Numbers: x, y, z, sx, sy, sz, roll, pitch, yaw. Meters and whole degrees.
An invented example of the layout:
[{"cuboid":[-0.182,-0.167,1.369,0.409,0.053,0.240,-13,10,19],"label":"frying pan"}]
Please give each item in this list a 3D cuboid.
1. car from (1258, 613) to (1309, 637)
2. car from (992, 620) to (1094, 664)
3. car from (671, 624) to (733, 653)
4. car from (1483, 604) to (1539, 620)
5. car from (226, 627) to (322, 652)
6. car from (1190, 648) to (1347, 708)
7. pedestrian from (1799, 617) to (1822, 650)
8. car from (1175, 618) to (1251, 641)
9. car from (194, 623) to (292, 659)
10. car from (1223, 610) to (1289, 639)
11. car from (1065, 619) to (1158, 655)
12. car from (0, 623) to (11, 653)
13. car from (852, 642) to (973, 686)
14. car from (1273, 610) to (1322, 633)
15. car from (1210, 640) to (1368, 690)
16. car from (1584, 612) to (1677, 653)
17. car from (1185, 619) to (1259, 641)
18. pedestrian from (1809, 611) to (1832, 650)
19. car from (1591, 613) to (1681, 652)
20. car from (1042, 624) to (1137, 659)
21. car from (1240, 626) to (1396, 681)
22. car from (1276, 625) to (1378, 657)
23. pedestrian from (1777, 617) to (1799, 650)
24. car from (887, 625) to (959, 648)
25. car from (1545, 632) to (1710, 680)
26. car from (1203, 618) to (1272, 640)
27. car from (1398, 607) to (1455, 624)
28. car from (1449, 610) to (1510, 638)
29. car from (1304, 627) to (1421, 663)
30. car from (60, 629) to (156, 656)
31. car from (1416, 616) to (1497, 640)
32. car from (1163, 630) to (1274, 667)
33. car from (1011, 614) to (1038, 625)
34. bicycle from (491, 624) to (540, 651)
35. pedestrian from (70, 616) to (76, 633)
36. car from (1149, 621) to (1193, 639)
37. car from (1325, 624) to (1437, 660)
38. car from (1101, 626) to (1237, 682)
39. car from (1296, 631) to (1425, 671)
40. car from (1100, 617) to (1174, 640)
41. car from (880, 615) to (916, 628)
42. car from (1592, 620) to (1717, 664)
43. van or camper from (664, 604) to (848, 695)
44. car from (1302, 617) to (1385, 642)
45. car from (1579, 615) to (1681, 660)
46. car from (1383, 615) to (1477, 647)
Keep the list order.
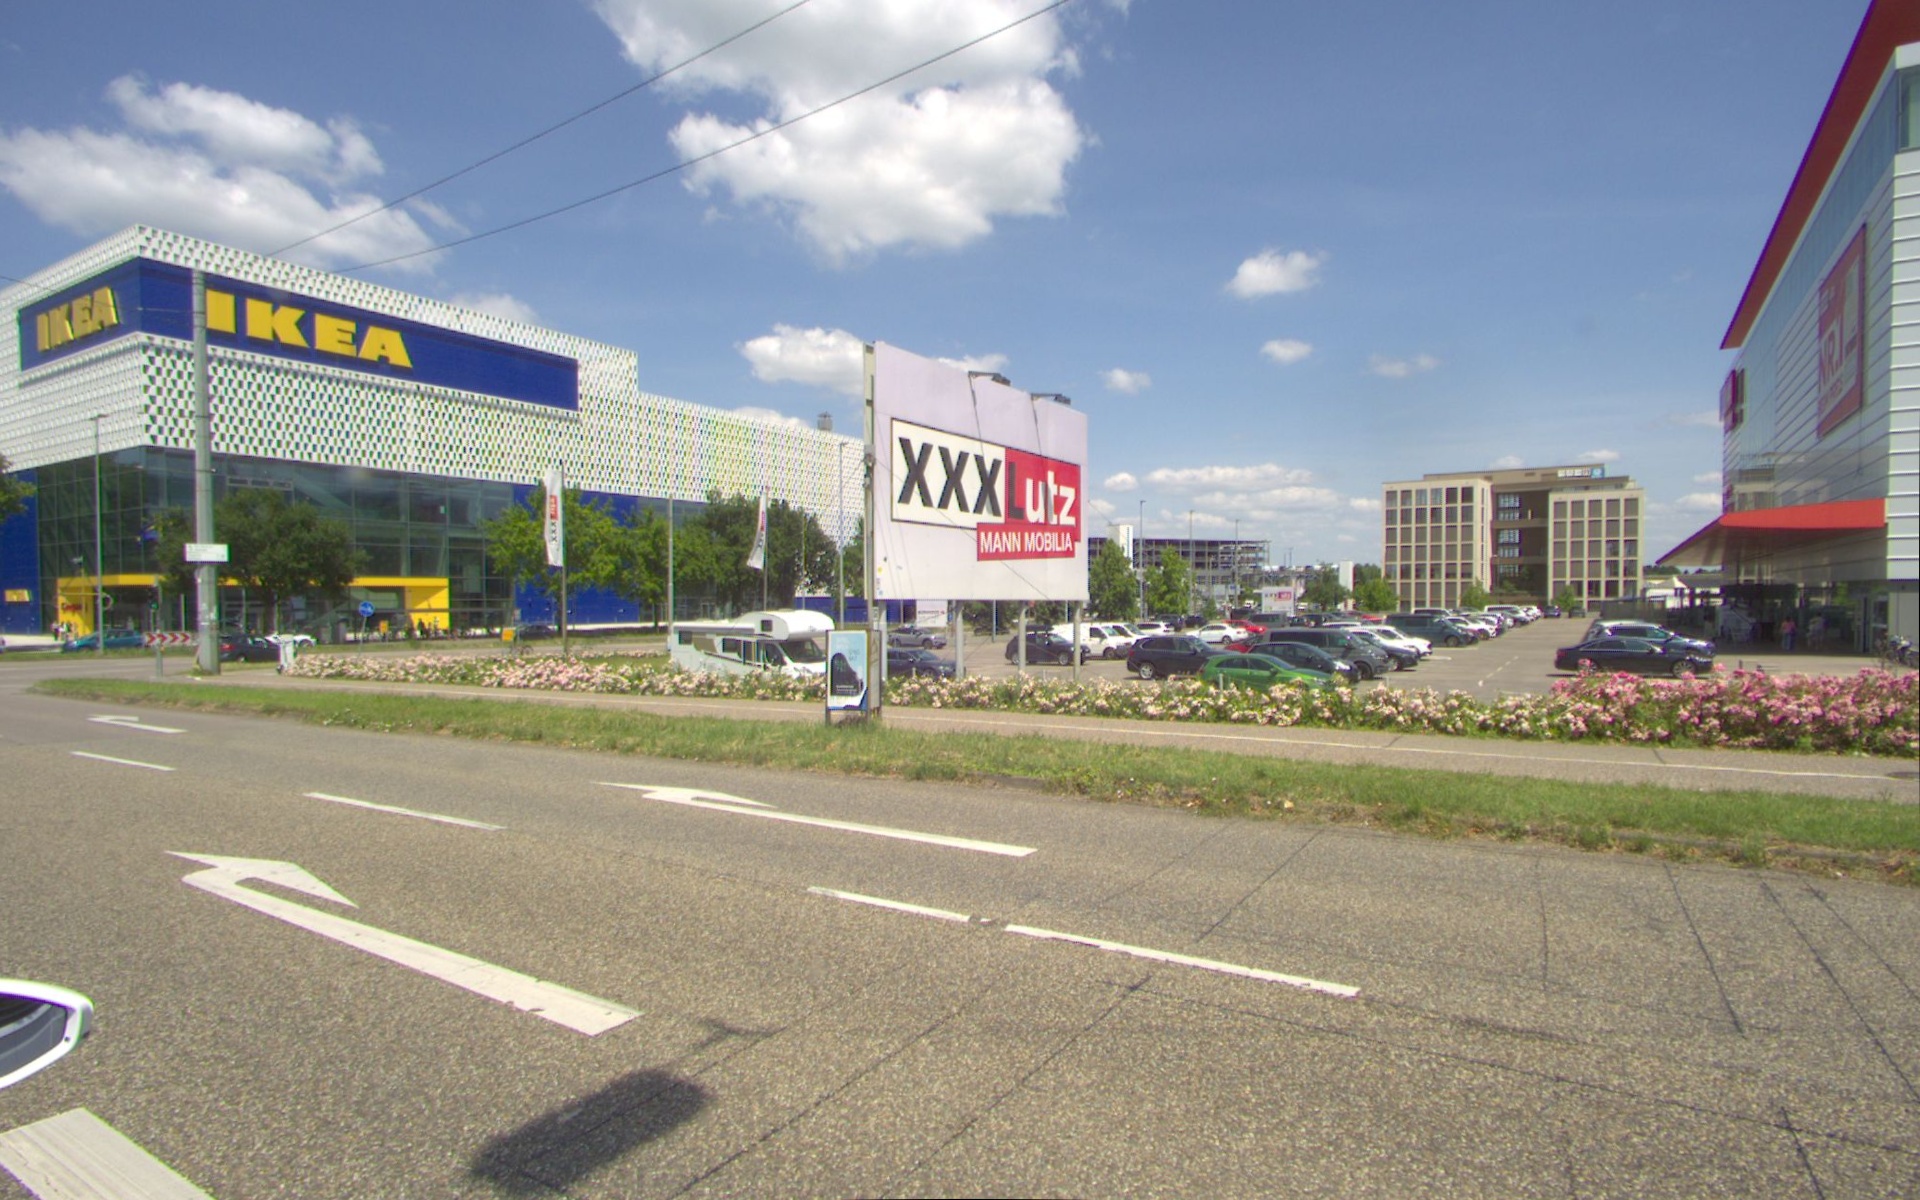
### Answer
[{"cuboid":[28.628,2.191,88.572,3.943,2.040,1.990,-1,-1,32],"label":"car"},{"cuboid":[4.285,2.135,51.921,4.930,2.162,1.990,-1,-1,33],"label":"car"},{"cuboid":[-18.840,2.810,73.277,1.972,2.040,4.172,-1,-1,33],"label":"car"},{"cuboid":[56.456,1.247,102.613,4.930,1.631,1.990,-1,-1,33],"label":"car"},{"cuboid":[-41.886,2.420,61.233,1.974,1.505,4.485,0,-2,36],"label":"car"},{"cuboid":[9.501,2.354,30.896,4.242,1.517,1.988,-1,2,33],"label":"car"},{"cuboid":[40.995,1.621,48.266,0.725,1.578,0.739,0,-1,30],"label":"pedestrian"},{"cuboid":[18.229,2.119,72.274,4.930,1.631,1.990,-1,-1,33],"label":"car"},{"cuboid":[-32.747,1.831,45.883,1.732,1.546,4.099,0,-1,-3],"label":"car"},{"cuboid":[24.468,2.022,82.823,4.930,2.333,1.990,-1,-1,33],"label":"car"},{"cuboid":[8.750,2.104,57.963,4.930,2.033,1.990,-1,-1,33],"label":"car"},{"cuboid":[-49.753,1.818,49.022,1.974,1.505,4.485,0,-2,36],"label":"car"},{"cuboid":[-1.980,2.584,41.228,4.702,1.558,1.989,-1,0,33],"label":"car"},{"cuboid":[31.085,2.017,92.205,3.943,2.040,1.990,-1,-1,32],"label":"car"},{"cuboid":[11.487,2.234,35.061,4.930,1.570,1.990,-1,-1,33],"label":"car"},{"cuboid":[34.817,1.685,52.131,3.943,2.039,1.990,-1,-1,32],"label":"car"},{"cuboid":[19.414,2.208,74.315,4.930,1.631,1.990,-1,-1,33],"label":"car"},{"cuboid":[41.940,1.482,48.804,0.725,1.893,0.739,0,-1,30],"label":"pedestrian"},{"cuboid":[36.473,1.762,54.173,3.943,2.040,1.990,-1,-1,32],"label":"car"},{"cuboid":[7.216,2.278,55.884,4.930,1.876,1.990,-1,-1,33],"label":"car"},{"cuboid":[13.952,2.022,39.180,5.456,2.039,1.990,-1,-1,33],"label":"car"},{"cuboid":[19.800,2.170,54.065,4.928,1.631,1.990,-1,-1,32],"label":"car"},{"cuboid":[40.850,1.649,49.407,0.725,1.578,0.739,0,-1,30],"label":"pedestrian"},{"cuboid":[-2.745,2.674,73.440,5.083,1.631,1.990,-1,-1,33],"label":"car"},{"cuboid":[24.313,1.997,36.699,4.930,1.631,1.990,-1,-1,33],"label":"car"},{"cuboid":[21.807,2.270,78.742,4.930,1.631,1.990,-1,-1,33],"label":"car"},{"cuboid":[45.572,1.492,97.849,4.930,1.631,1.990,-1,-1,33],"label":"car"},{"cuboid":[39.449,1.819,76.054,3.943,2.040,1.990,-1,-1,32],"label":"car"},{"cuboid":[19.128,2.089,47.680,4.930,1.631,1.990,-1,-1,33],"label":"car"},{"cuboid":[-48.367,2.408,56.873,1.974,1.505,3.779,0,-2,36],"label":"car"},{"cuboid":[34.736,1.942,70.047,4.930,1.631,1.990,-1,-1,33],"label":"car"},{"cuboid":[12.704,2.351,49.326,4.930,1.632,1.989,-1,0,33],"label":"car"},{"cuboid":[9.750,2.986,150.360,1.974,1.505,4.485,0,-2,36],"label":"car"},{"cuboid":[-25.521,2.153,57.531,0.976,1.500,2.415,-1,-1,37],"label":"bicycle"},{"cuboid":[-72.099,1.969,81.382,0.263,1.360,0.288,-1,0,32],"label":"pedestrian"},{"cuboid":[21.519,3.048,102.145,3.943,1.863,1.819,-1,-1,32],"label":"car"},{"cuboid":[20.920,2.054,49.844,4.930,1.672,1.990,-1,-1,33],"label":"car"},{"cuboid":[8.343,2.106,40.134,4.930,2.040,1.989,-1,1,33],"label":"car"},{"cuboid":[17.235,2.160,43.171,4.930,1.631,1.990,-1,-1,33],"label":"car"},{"cuboid":[12.809,2.054,72.533,4.922,1.631,1.993,-1,-1,27],"label":"car"},{"cuboid":[-7.559,2.581,122.011,1.974,1.505,4.485,0,-2,36],"label":"car"},{"cuboid":[29.478,1.777,42.678,4.271,1.804,1.990,-1,-2,33],"label":"car"},{"cuboid":[-7.567,1.735,36.620,7.129,3.059,2.499,-1,-1,36],"label":"van or camper"},{"cuboid":[25.892,1.990,67.628,4.930,1.631,1.990,-1,-1,33],"label":"car"},{"cuboid":[31.789,1.776,47.633,3.943,2.040,1.990,-1,-1,32],"label":"car"},{"cuboid":[28.996,1.919,61.858,5.106,1.889,1.991,-1,-1,31],"label":"car"}]
